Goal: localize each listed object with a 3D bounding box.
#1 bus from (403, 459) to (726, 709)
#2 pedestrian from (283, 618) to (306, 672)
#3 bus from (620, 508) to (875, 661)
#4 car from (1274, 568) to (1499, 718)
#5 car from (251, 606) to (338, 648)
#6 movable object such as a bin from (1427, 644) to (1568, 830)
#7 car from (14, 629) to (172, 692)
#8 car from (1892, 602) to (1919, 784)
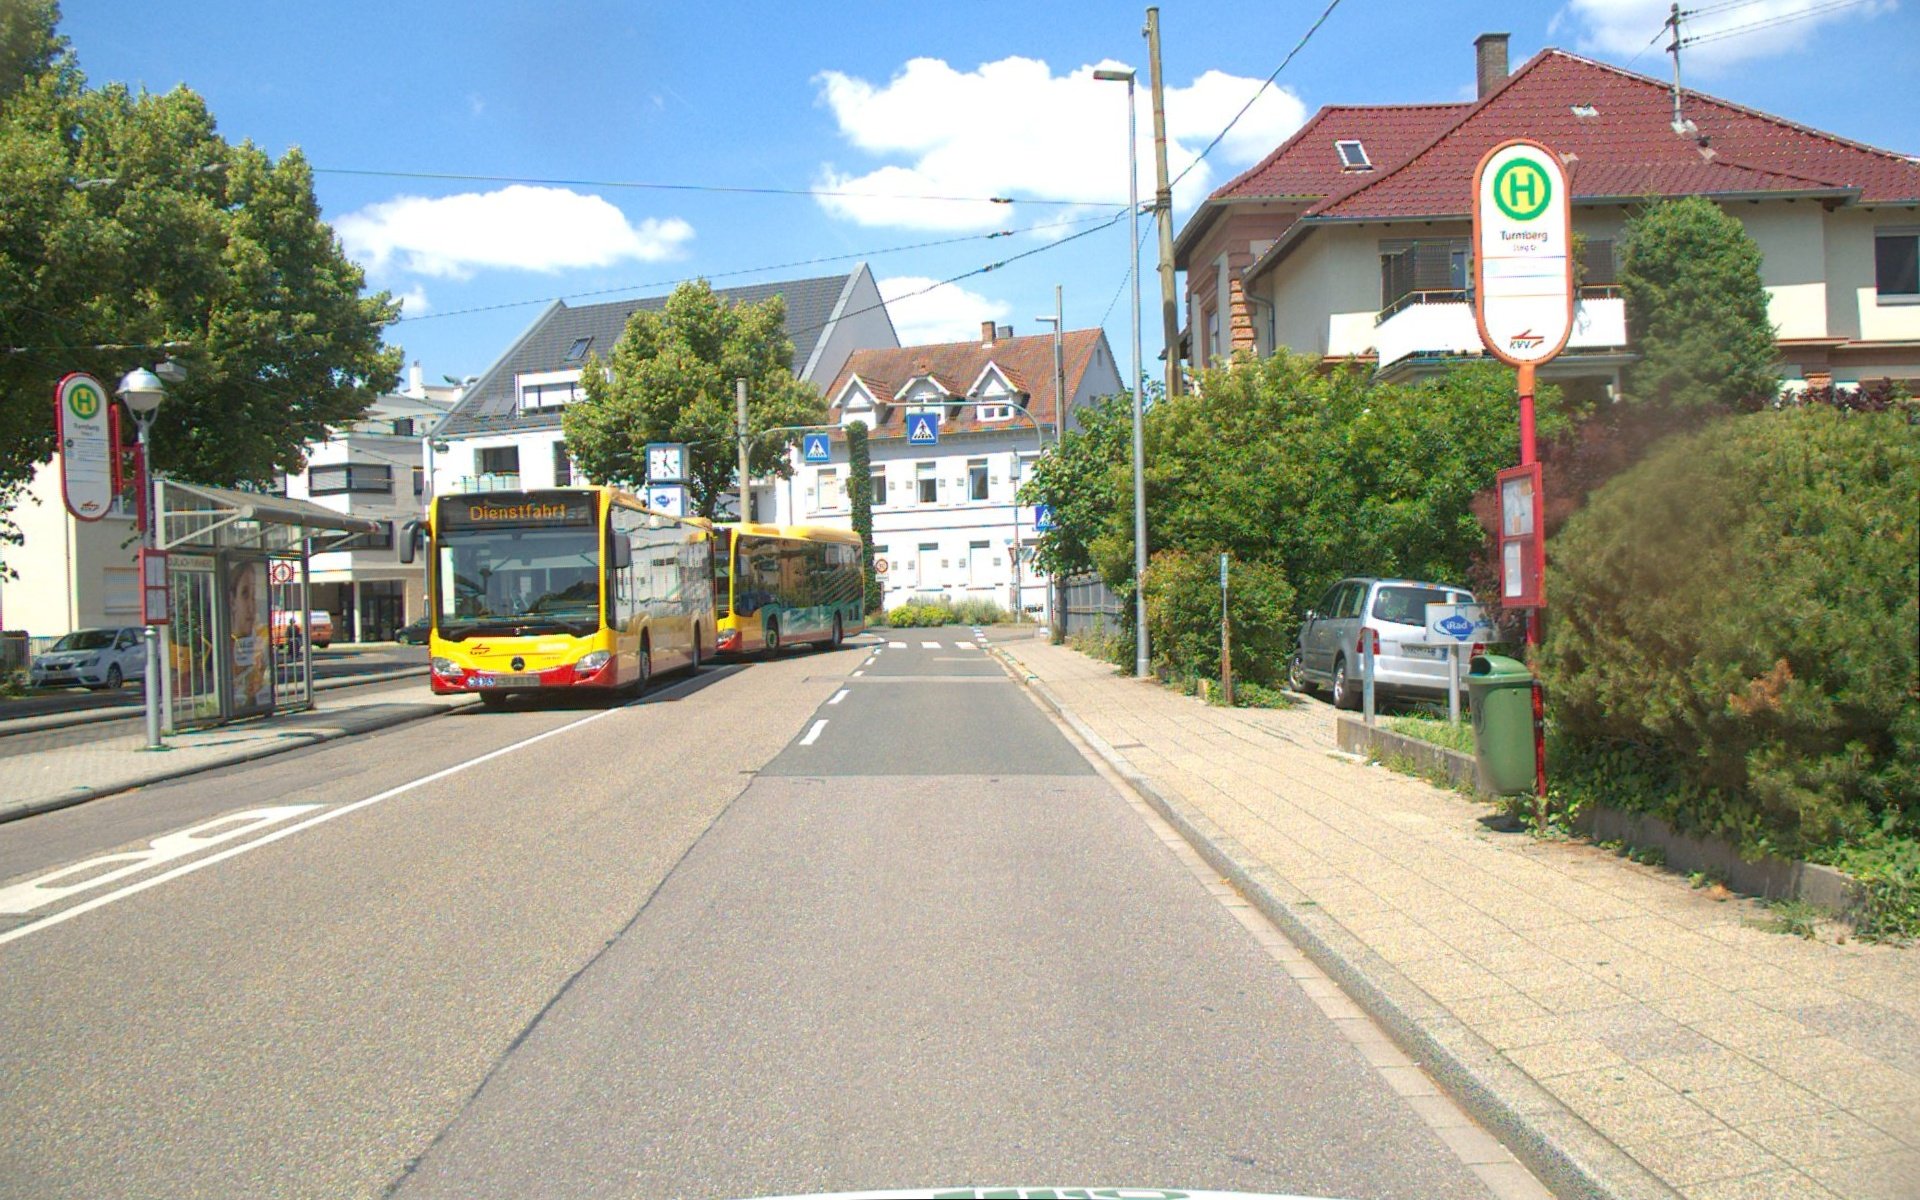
[{"bbox_3d":[-6.077,-0.176,27.895,2.848,3.305,12.114,0,0,-2],"label":"bus"},{"bbox_3d":[-25.357,1.708,62.982,0.677,2.049,0.611,1,-2,-36],"label":"pedestrian"},{"bbox_3d":[-4.881,-0.415,41.450,2.720,3.264,12.318,0,1,10],"label":"bus"},{"bbox_3d":[5.414,0.552,21.510,1.725,1.656,3.998,4,-1,-1],"label":"car"},{"bbox_3d":[-33.261,1.346,82.711,3.910,2.049,1.997,-1,-2,28],"label":"car"},{"bbox_3d":[2.888,0.718,8.929,0.399,0.922,0.729,-5,-1,-4],"label":"movable object such as a bin"},{"bbox_3d":[-19.344,1.326,37.103,1.681,1.342,3.996,0,-1,-5],"label":"car"},{"bbox_3d":[9.695,0.892,12.686,4.048,1.449,1.722,4,0,0],"label":"car"}]
